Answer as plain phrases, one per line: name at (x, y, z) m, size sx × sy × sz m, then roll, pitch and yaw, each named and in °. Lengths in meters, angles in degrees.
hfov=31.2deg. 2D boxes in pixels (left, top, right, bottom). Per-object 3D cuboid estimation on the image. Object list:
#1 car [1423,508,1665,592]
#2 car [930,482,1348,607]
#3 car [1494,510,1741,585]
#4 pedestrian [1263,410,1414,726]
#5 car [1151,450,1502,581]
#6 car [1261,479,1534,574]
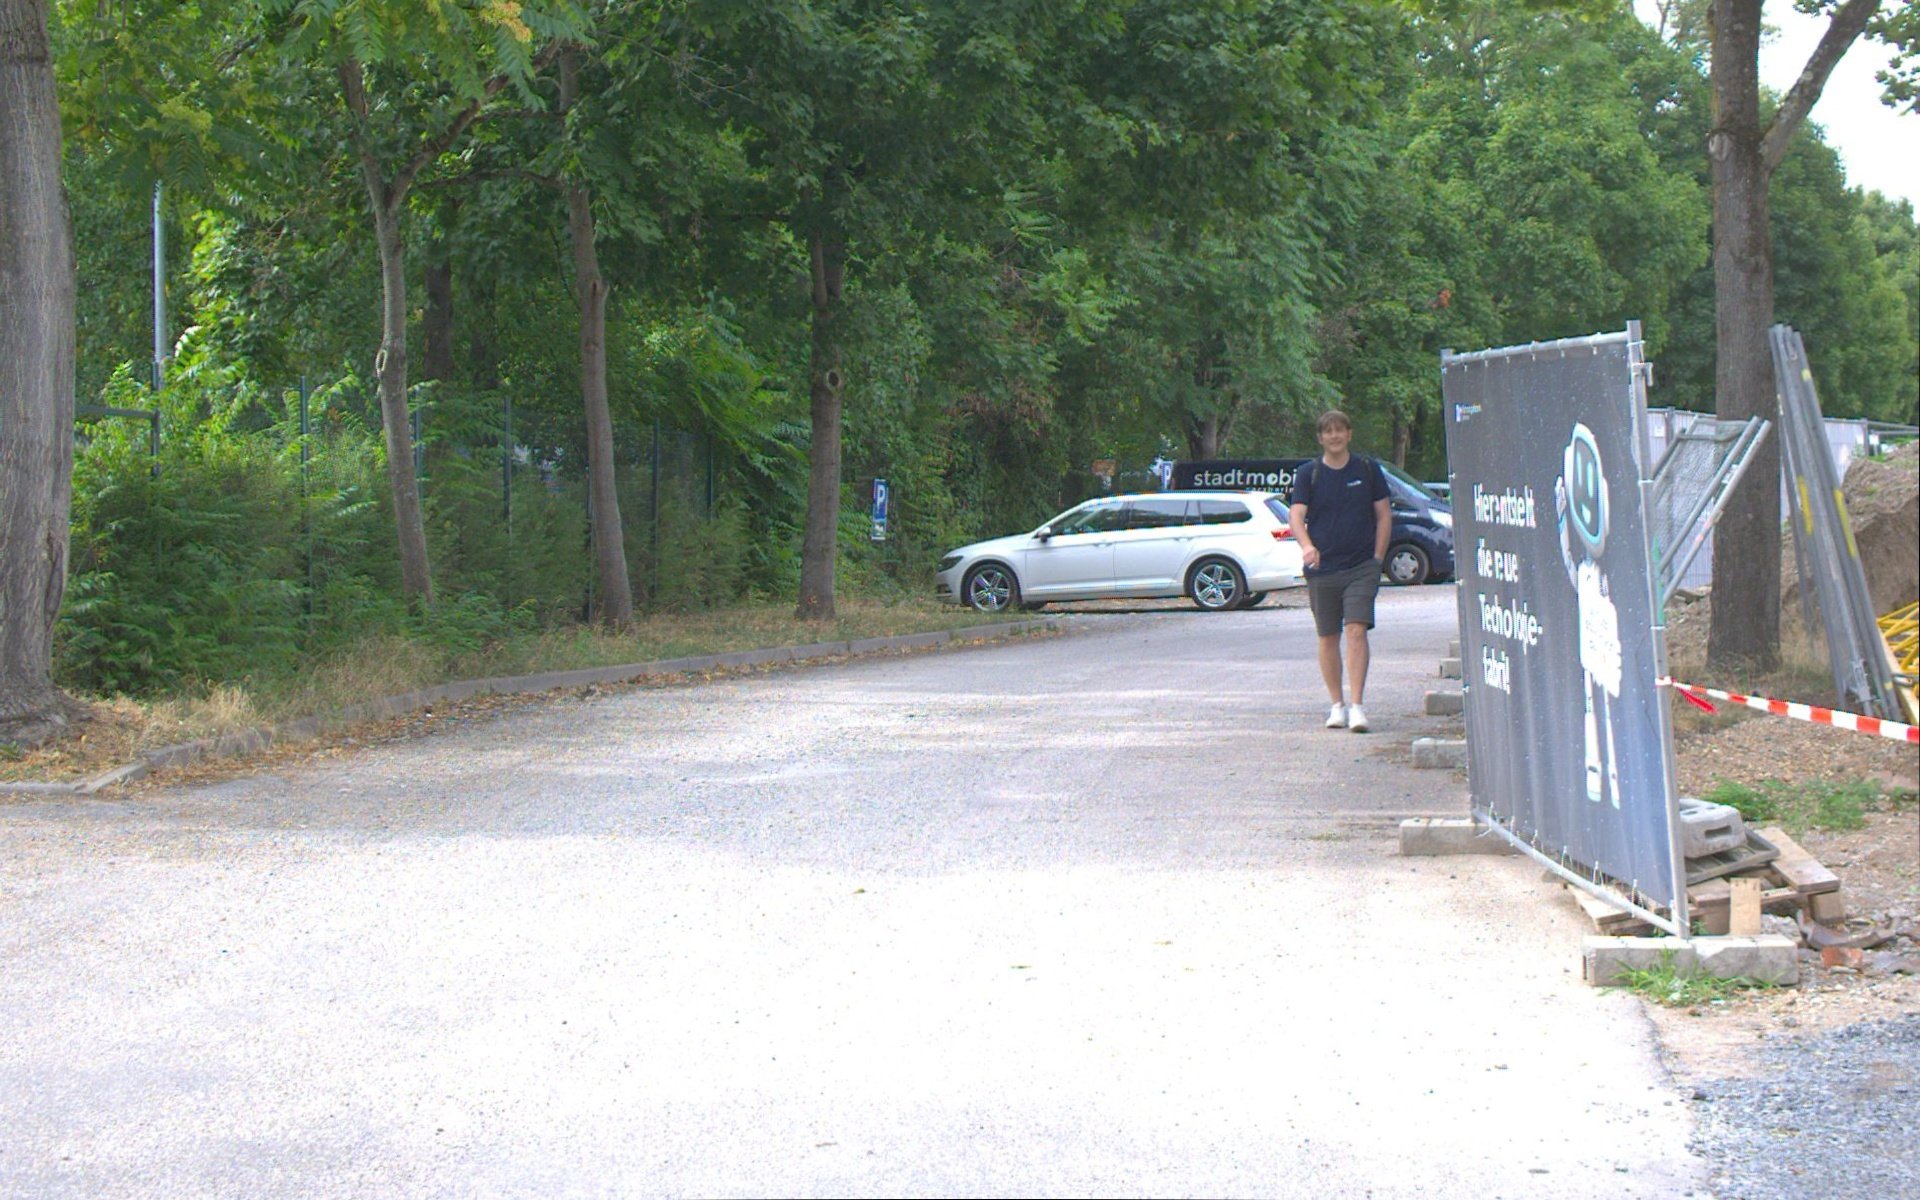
car at (10.988, -0.943, 64.622) m, size 4.337 × 1.538 × 1.752 m, roll 0°, pitch 2°, yaw 16°
car at (2.221, -0.692, 42.176) m, size 4.796 × 1.483 × 1.999 m, roll 0°, pitch 2°, yaw 16°
car at (13.450, -1.071, 70.245) m, size 4.796 × 1.483 × 1.999 m, roll 0°, pitch 2°, yaw 16°
pedestrian at (2.188, -0.193, 19.814) m, size 0.748 × 1.783 × 0.730 m, roll 0°, pitch 2°, yaw 16°
car at (5.654, -1.299, 53.019) m, size 5.050 × 1.946 × 1.998 m, roll 0°, pitch 2°, yaw 20°
car at (7.114, -1.208, 55.938) m, size 3.993 × 1.495 × 1.928 m, roll 1°, pitch 2°, yaw 28°
